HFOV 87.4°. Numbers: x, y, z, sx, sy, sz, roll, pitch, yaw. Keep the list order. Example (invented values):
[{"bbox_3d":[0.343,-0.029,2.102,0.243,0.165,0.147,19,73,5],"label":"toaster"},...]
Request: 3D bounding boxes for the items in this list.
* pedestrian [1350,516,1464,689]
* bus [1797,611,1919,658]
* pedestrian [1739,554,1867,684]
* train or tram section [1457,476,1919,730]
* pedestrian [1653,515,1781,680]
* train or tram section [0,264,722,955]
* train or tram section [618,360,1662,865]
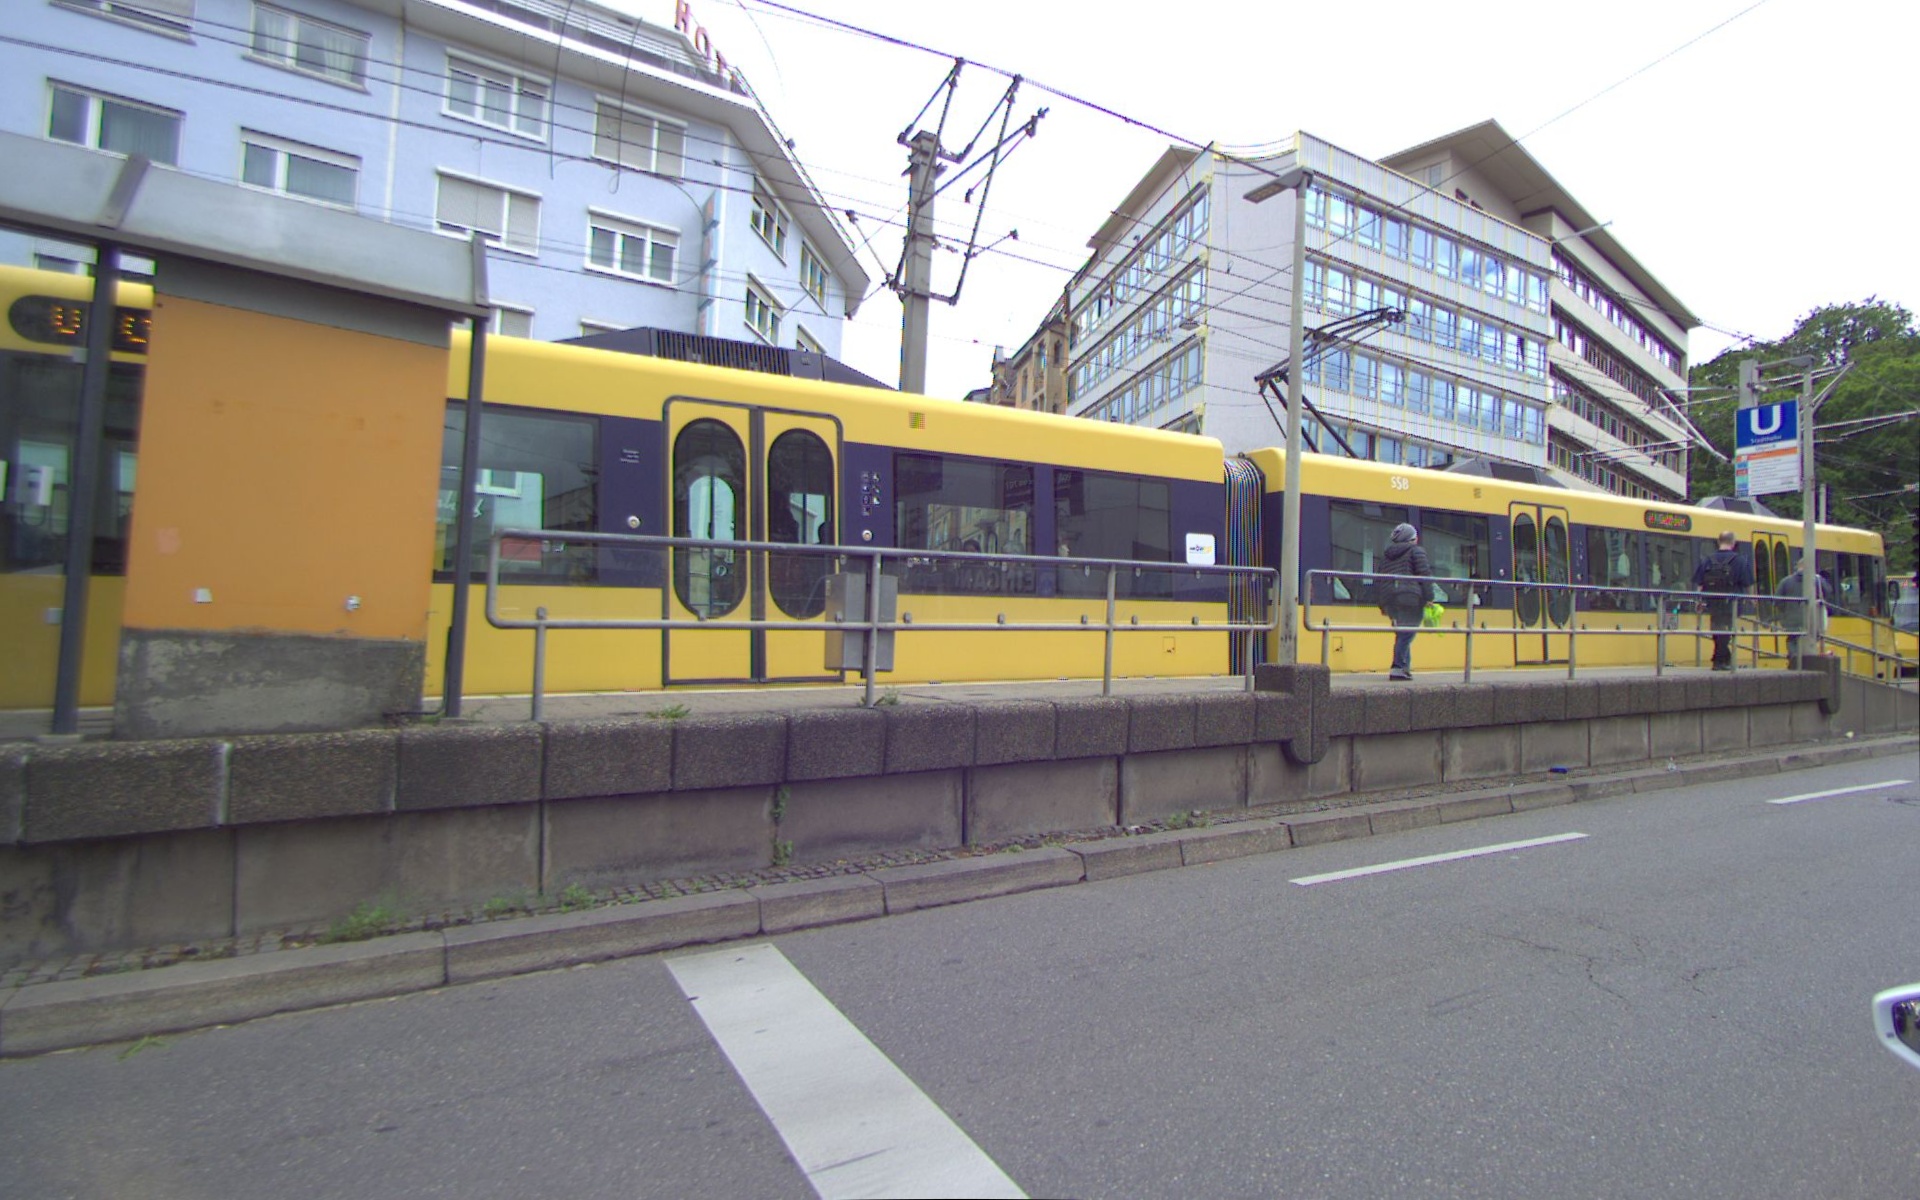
[{"bbox_3d":[4.359,0.044,9.823,0.657,1.605,0.775,1,-2,-29],"label":"pedestrian"},{"bbox_3d":[64.789,2.371,68.903,3.334,3.069,11.515,0,-2,-15],"label":"bus"},{"bbox_3d":[11.973,0.294,14.274,1.029,1.701,1.112,6,-5,-29],"label":"pedestrian"},{"bbox_3d":[15.416,0.121,19.611,14.309,3.711,2.868,0,-4,-31],"label":"train or tram section"},{"bbox_3d":[9.806,0.006,13.016,1.219,1.995,0.925,4,-4,-30],"label":"pedestrian"},{"bbox_3d":[-8.527,0.139,4.996,14.066,3.711,2.868,0,-4,-31],"label":"train or tram section"},{"bbox_3d":[3.406,0.149,12.270,14.066,3.711,2.868,0,-4,-31],"label":"train or tram section"}]
